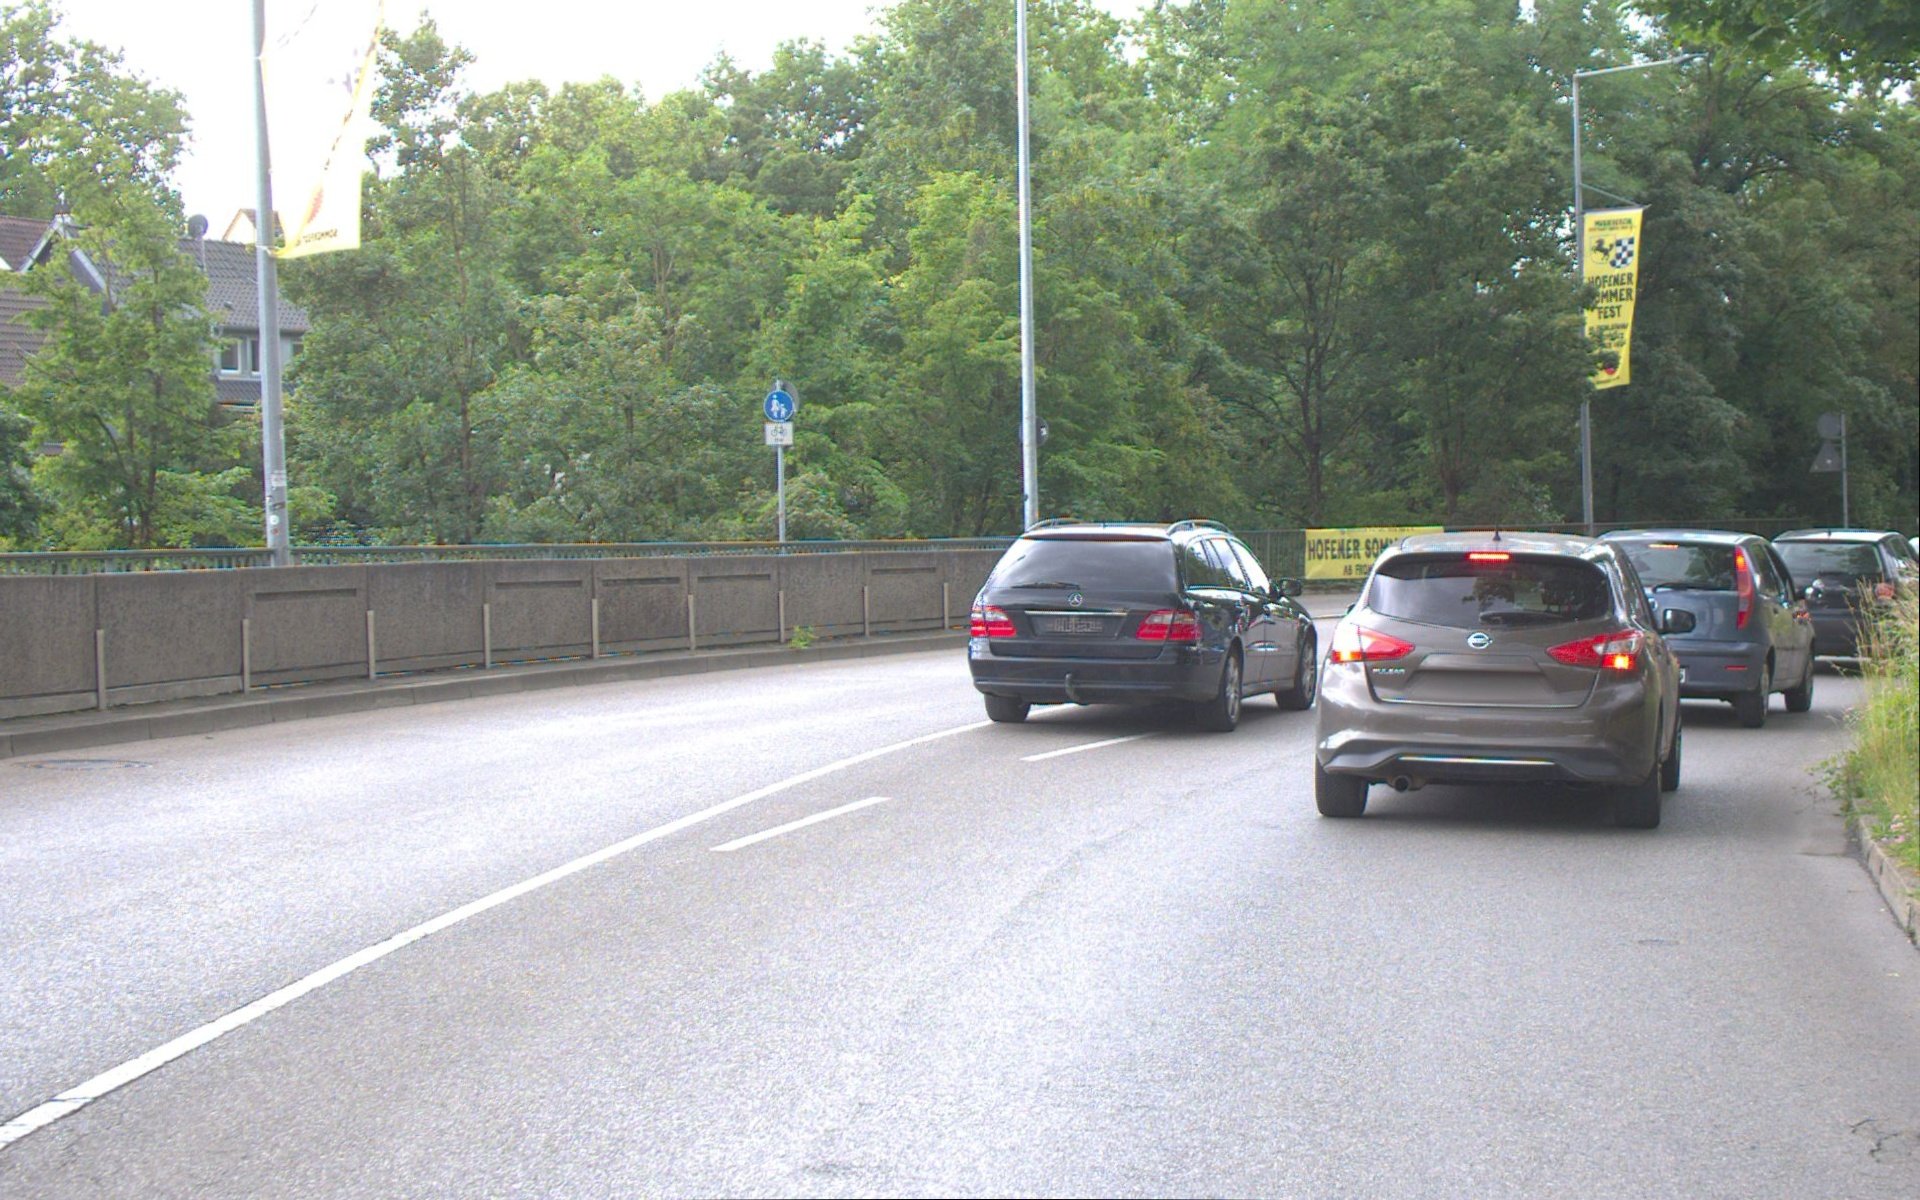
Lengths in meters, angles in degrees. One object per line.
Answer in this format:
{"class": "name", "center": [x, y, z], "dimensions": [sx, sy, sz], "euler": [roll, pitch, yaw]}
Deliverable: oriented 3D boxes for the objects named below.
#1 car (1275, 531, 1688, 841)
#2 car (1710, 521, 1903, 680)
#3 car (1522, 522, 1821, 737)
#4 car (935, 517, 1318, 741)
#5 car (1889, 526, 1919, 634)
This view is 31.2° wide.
{"class": "car", "center": [2.996, 0.403, 19.075], "dimensions": [1.776, 1.489, 3.997], "euler": [2, 1, 15]}
{"class": "car", "center": [8.748, -0.016, 35.332], "dimensions": [1.579, 1.533, 3.996], "euler": [-1, 1, 19]}
{"class": "car", "center": [5.735, 0.195, 27.381], "dimensions": [1.894, 1.568, 3.996], "euler": [1, 1, 18]}
{"class": "car", "center": [1.342, 0.137, 25.649], "dimensions": [1.853, 1.481, 4.418], "euler": [1, 2, 16]}
{"class": "car", "center": [13.146, -0.286, 44.939], "dimensions": [1.502, 1.360, 3.583], "euler": [-1, 1, 22]}
